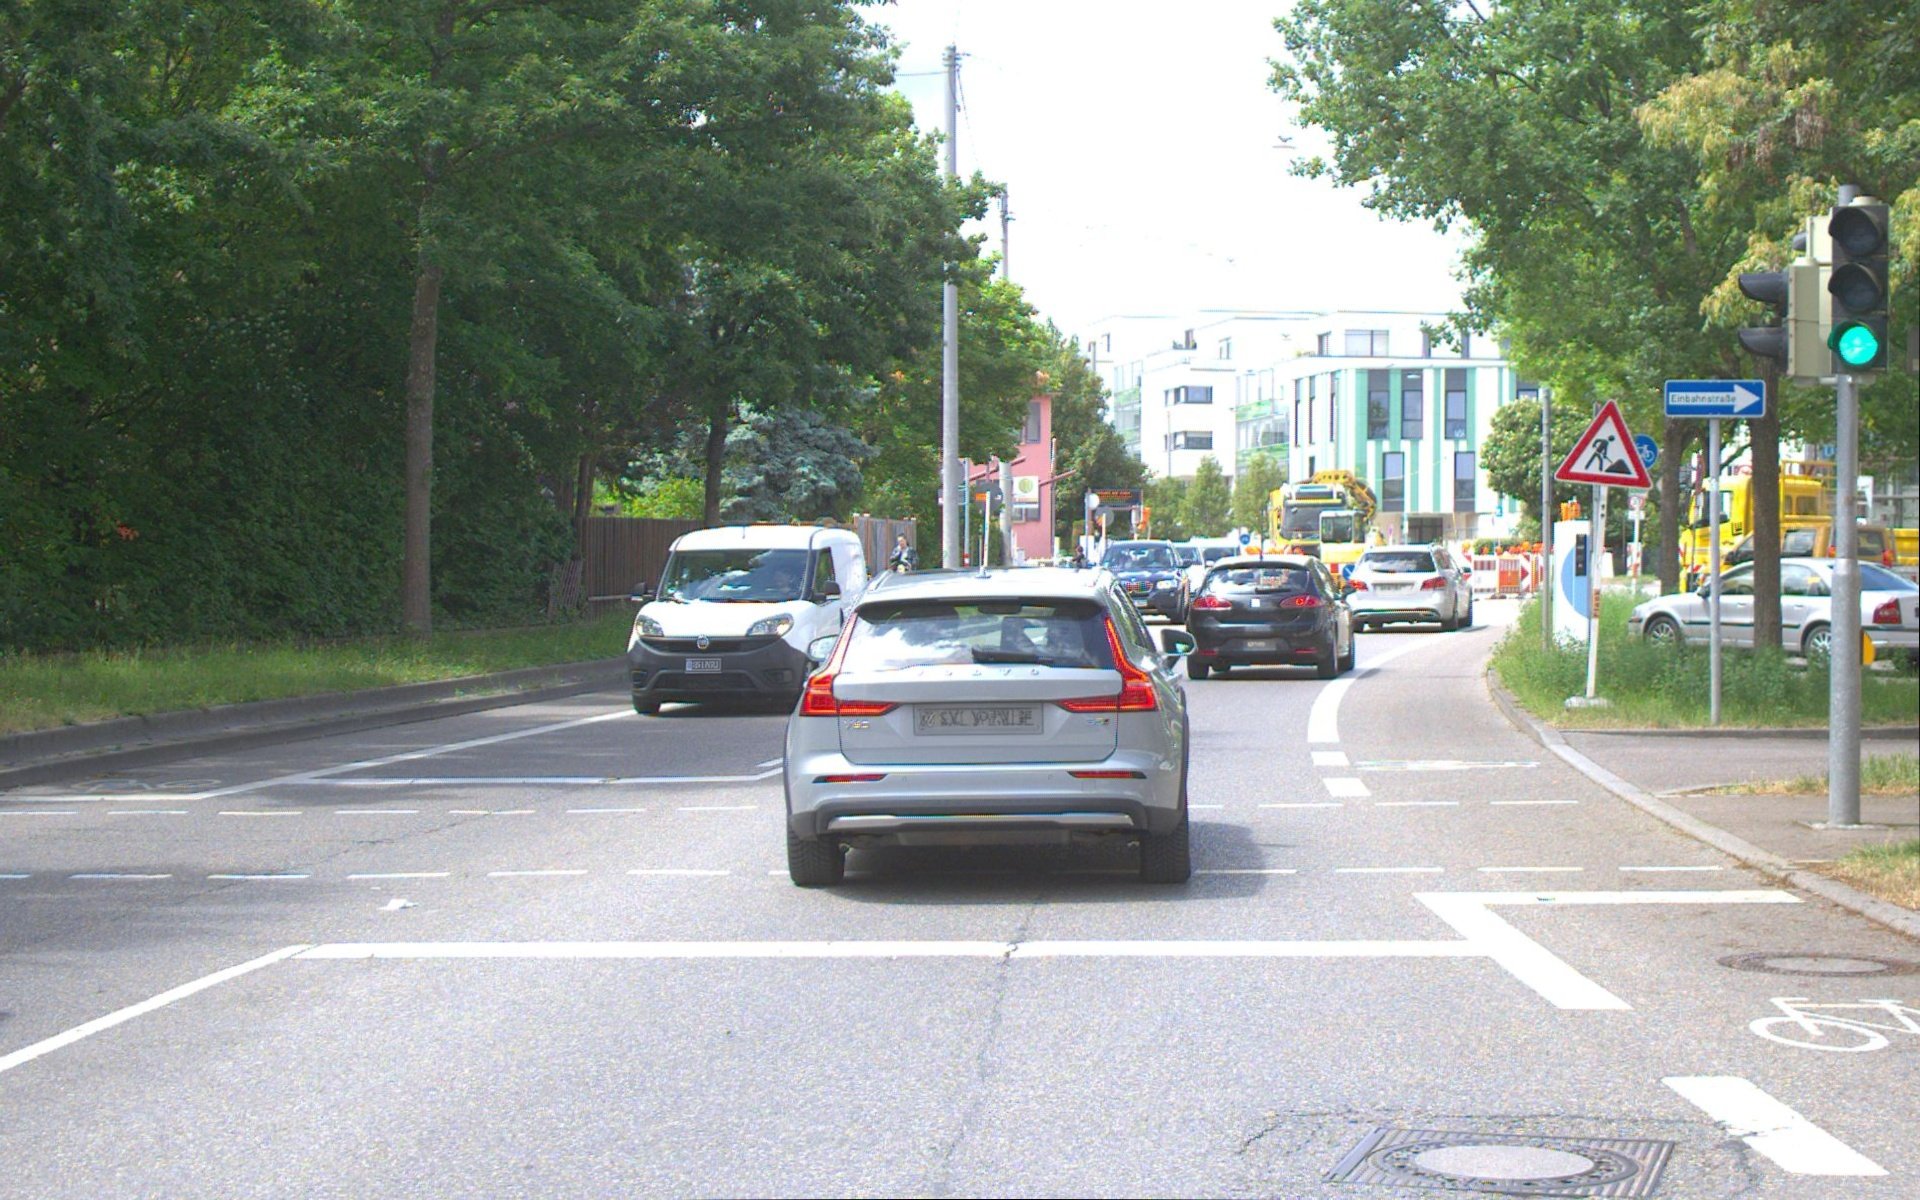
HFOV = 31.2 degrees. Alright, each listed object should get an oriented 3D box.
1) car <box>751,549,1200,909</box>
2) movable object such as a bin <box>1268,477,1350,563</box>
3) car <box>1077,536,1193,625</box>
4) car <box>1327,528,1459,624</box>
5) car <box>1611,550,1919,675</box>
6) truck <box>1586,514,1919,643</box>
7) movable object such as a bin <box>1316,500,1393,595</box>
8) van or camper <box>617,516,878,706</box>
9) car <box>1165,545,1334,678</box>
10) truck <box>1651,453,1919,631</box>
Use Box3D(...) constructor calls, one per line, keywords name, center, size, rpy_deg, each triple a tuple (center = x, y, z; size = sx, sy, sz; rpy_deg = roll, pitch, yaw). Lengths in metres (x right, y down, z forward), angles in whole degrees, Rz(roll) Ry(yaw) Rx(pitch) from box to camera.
Box3D(name="car", center=(0.167, 0.551, 16.939), size=(1.928, 1.535, 4.000), rpy_deg=(-1, 0, 3))
Box3D(name="movable object such as a bin", center=(12.406, -2.852, 122.589), size=(2.310, 2.980, 6.427), rpy_deg=(0, 1, 0))
Box3D(name="car", center=(3.507, -0.404, 68.221), size=(1.880, 1.681, 4.246), rpy_deg=(-1, 1, 8))
Box3D(name="car", center=(7.439, -0.388, 59.064), size=(2.103, 1.505, 3.999), rpy_deg=(3, 0, 7))
Box3D(name="car", center=(10.707, 0.130, 44.147), size=(1.762, 1.447, 4.689), rpy_deg=(0, 1, -35))
Box3D(name="truck", center=(13.584, -0.403, 59.086), size=(1.994, 2.007, 5.677), rpy_deg=(3, 0, -36))
Box3D(name="movable object such as a bin", center=(11.401, -1.516, 99.031), size=(2.035, 2.634, 5.938), rpy_deg=(0, 1, 8))
Box3D(name="van or camper", center=(-2.055, 0.067, 34.561), size=(1.861, 1.770, 4.379), rpy_deg=(1, 1, 7))
Box3D(name="car", center=(3.403, 0.133, 40.968), size=(1.661, 1.503, 3.702), rpy_deg=(0, 0, -1))
Box3D(name="truck", center=(15.791, -1.015, 60.864), size=(2.761, 2.998, 6.706), rpy_deg=(3, 0, -37))
